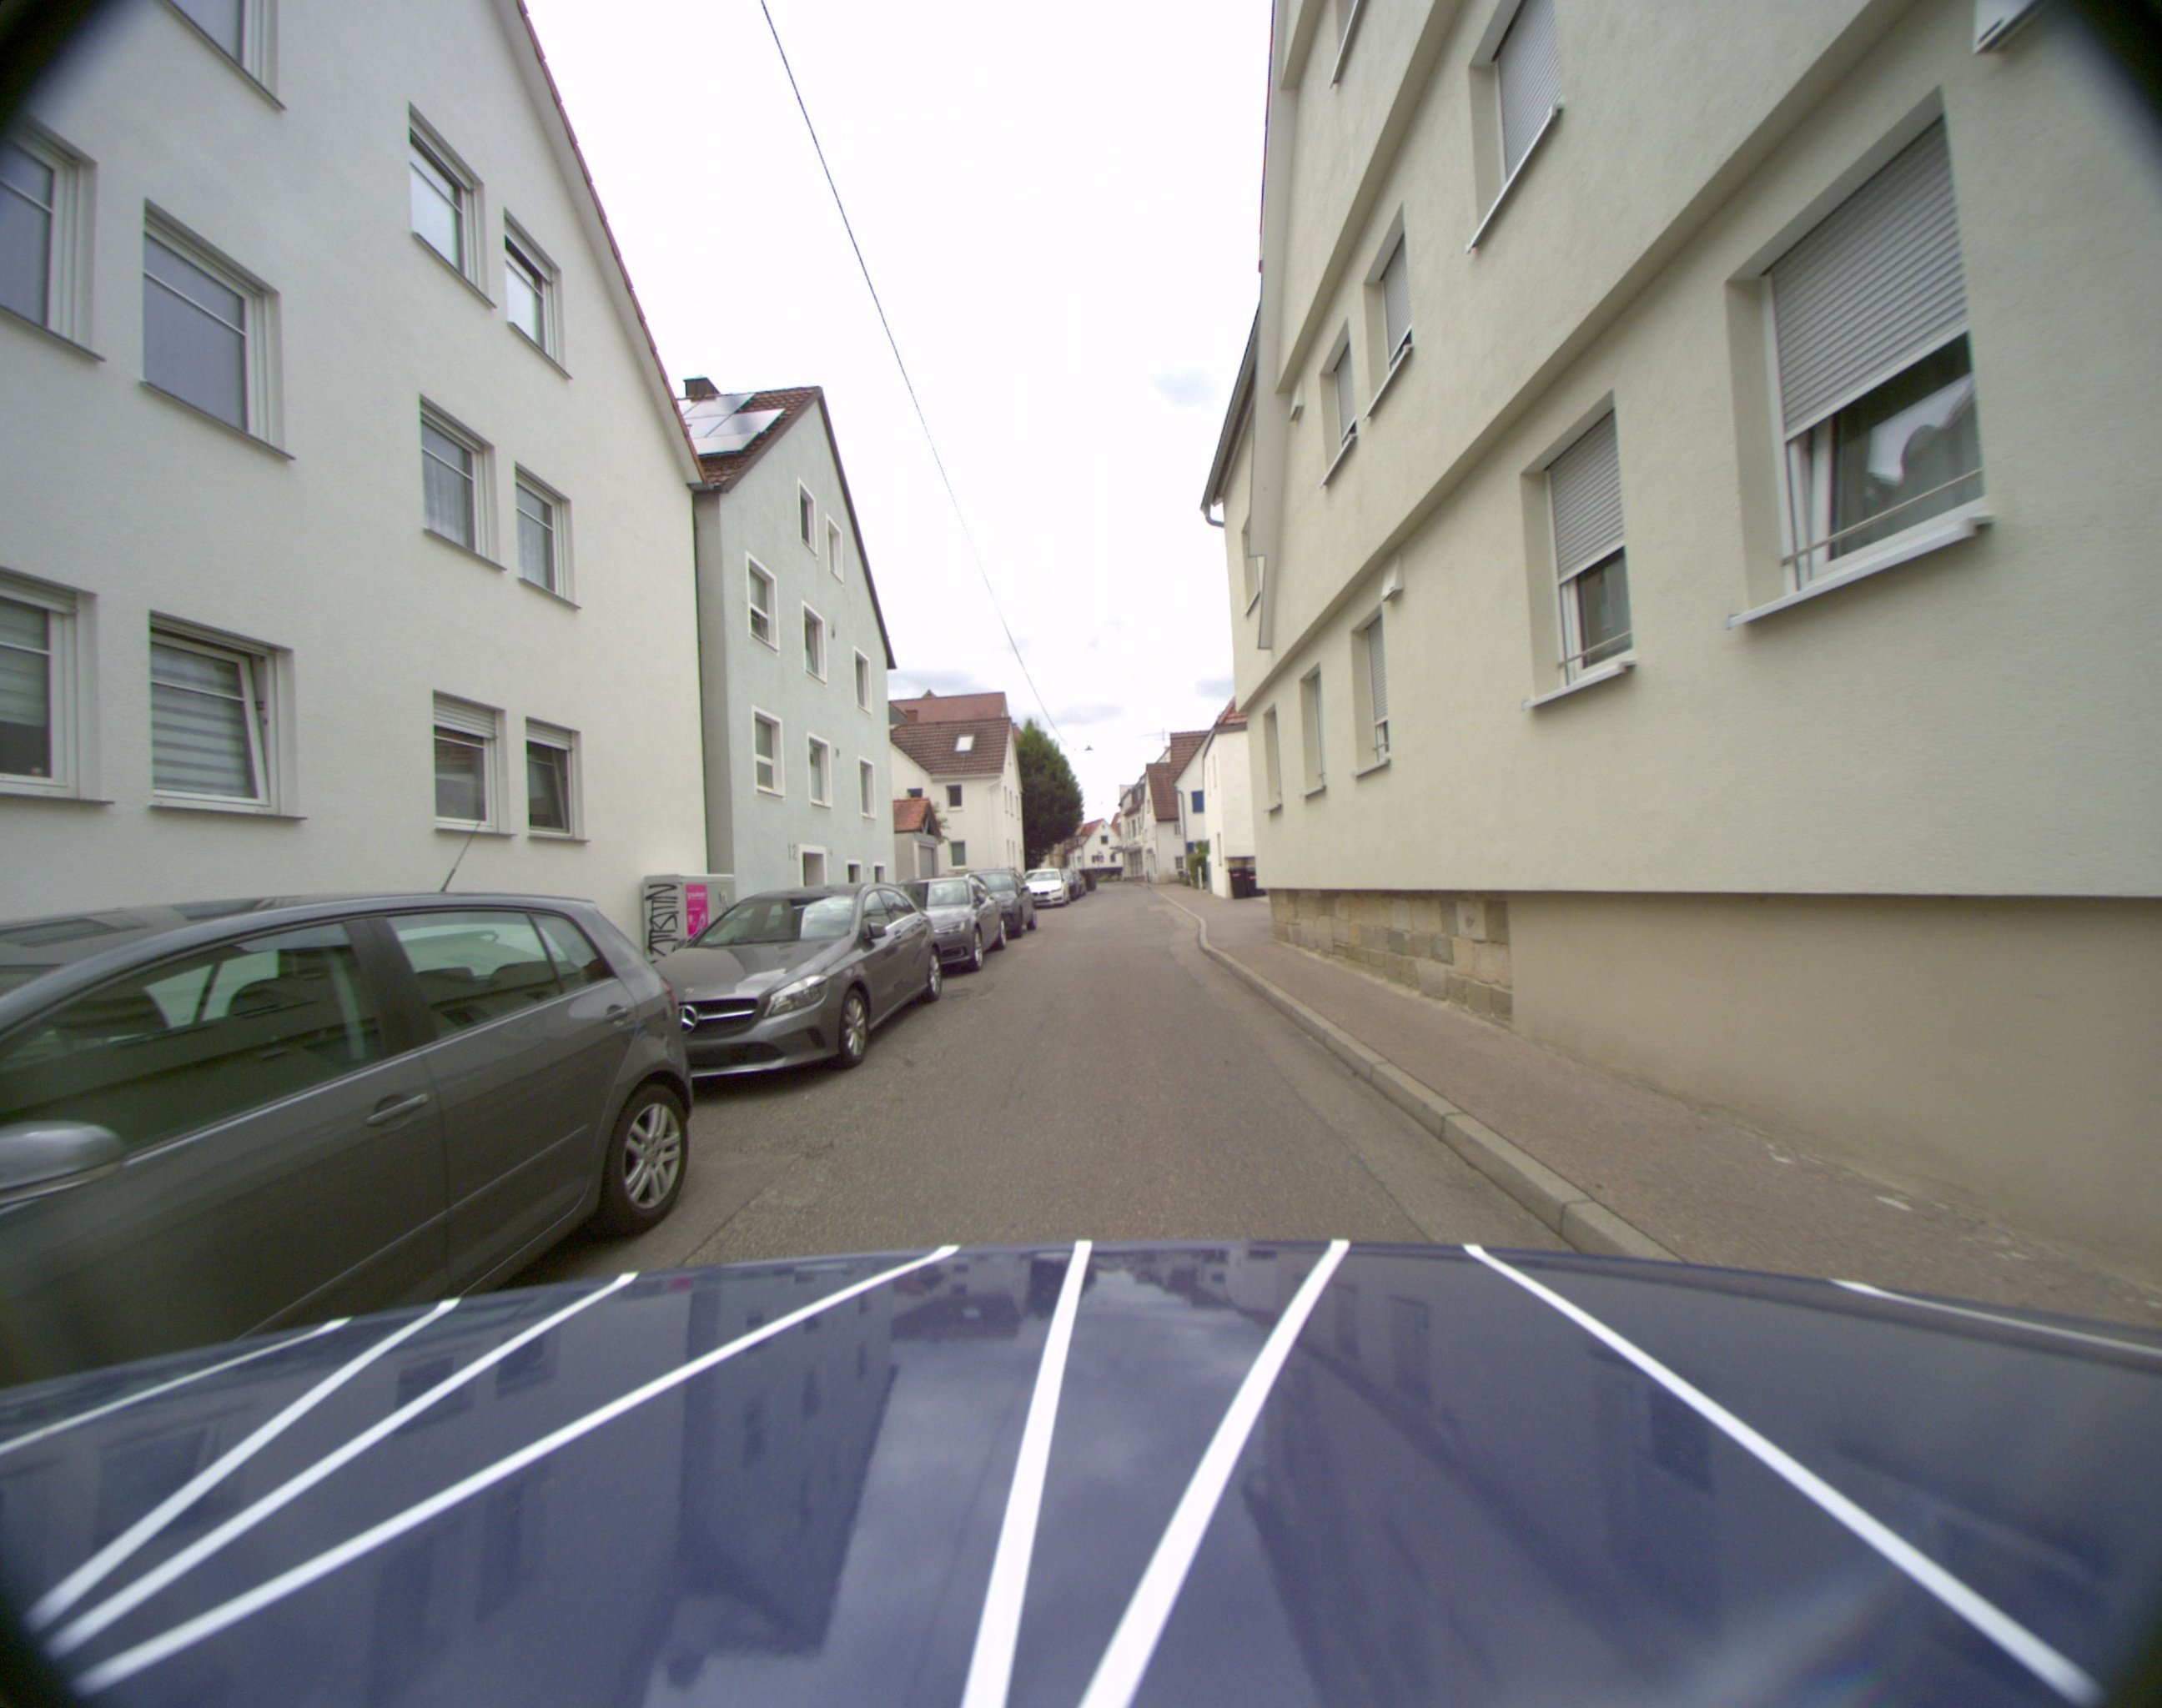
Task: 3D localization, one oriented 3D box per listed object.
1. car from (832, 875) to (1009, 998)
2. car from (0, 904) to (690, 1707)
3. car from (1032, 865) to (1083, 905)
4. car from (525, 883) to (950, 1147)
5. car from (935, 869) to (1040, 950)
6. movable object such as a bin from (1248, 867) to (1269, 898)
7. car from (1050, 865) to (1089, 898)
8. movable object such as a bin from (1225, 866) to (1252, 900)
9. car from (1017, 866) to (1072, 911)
[{"bbox_3d":[-2.351,1.161,12.290,1.730,1.434,4.265,-5,-1,1],"label":"car"},{"bbox_3d":[-2.822,1.095,1.711,1.739,1.555,3.908,-5,0,0],"label":"car"},{"bbox_3d":[-1.020,1.390,35.582,1.770,1.610,4.284,-5,-1,5],"label":"car"},{"bbox_3d":[-2.617,1.151,6.989,1.812,1.434,3.959,-5,0,3],"label":"car"},{"bbox_3d":[-1.986,1.158,17.202,1.642,1.503,3.842,-4,-1,3],"label":"car"},{"bbox_3d":[5.744,0.930,24.577,0.498,0.928,0.625,-6,-1,18],"label":"movable object such as a bin"},{"bbox_3d":[-0.577,1.526,43.267,1.770,1.584,4.041,-5,-1,4],"label":"car"},{"bbox_3d":[5.155,0.948,24.789,0.641,1.025,0.795,-6,-1,20],"label":"movable object such as a bin"},{"bbox_3d":[-1.378,1.332,30.382,1.770,1.553,4.041,-5,-1,2],"label":"car"}]
